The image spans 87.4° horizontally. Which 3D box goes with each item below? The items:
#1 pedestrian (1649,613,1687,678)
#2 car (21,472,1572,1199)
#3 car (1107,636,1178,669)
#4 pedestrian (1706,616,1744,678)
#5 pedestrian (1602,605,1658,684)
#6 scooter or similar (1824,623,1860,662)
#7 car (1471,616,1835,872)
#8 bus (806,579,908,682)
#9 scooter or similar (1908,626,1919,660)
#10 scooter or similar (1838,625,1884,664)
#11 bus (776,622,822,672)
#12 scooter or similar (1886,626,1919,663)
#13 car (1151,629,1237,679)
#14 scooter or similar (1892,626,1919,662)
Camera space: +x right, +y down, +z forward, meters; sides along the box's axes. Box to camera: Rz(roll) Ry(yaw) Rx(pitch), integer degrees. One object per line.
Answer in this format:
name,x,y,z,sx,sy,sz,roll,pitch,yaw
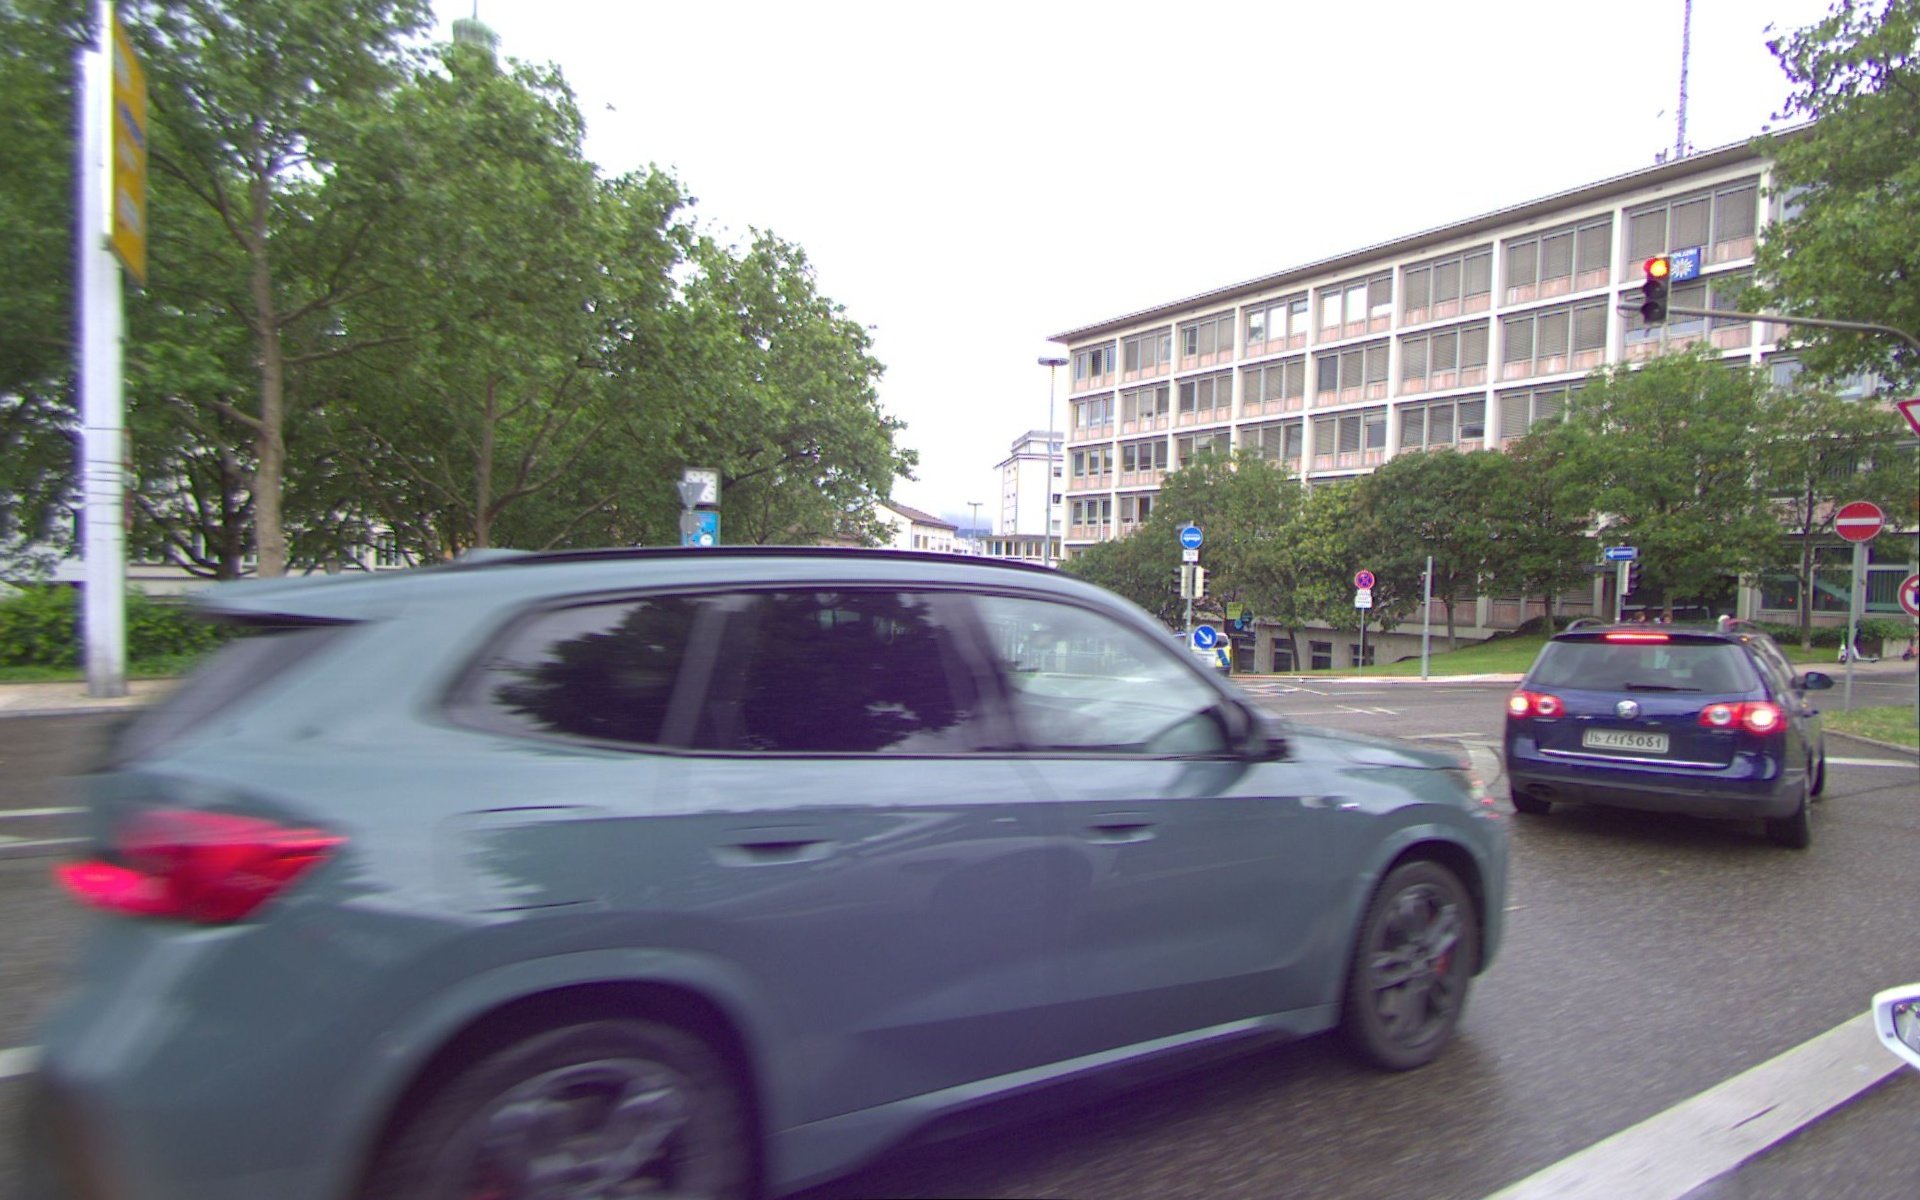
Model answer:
pedestrian,19.385,1.225,27.514,0.791,1.733,0.648,1,0,-39
car,-0.035,0.693,3.425,4.312,1.662,1.953,1,0,-33
car,8.933,2.569,49.646,1.964,1.438,4.581,1,-1,-10
pedestrian,20.511,1.252,26.934,0.918,1.624,0.647,1,0,-43
pedestrian,18.230,1.194,27.330,0.861,2.073,0.932,1,0,-24
scooter or similar,27.315,1.312,31.103,1.487,1.183,0.485,1,0,-35
car,5.698,0.880,7.992,1.795,1.428,4.390,1,0,42
bus,-4.028,1.231,36.409,2.837,3.058,11.956,1,-3,-10
scooter or similar,34.296,1.536,35.197,1.497,1.180,0.609,1,0,2
scooter or similar,28.667,1.409,31.951,1.554,1.208,0.567,1,0,-28
bus,-12.433,3.468,76.717,2.839,3.237,11.946,1,0,-12
scooter or similar,32.139,1.513,33.716,1.497,1.208,0.609,1,0,2
car,9.923,2.291,42.965,1.964,1.990,4.581,1,-2,-10
scooter or similar,33.144,1.516,34.575,1.497,1.208,0.609,1,0,2
